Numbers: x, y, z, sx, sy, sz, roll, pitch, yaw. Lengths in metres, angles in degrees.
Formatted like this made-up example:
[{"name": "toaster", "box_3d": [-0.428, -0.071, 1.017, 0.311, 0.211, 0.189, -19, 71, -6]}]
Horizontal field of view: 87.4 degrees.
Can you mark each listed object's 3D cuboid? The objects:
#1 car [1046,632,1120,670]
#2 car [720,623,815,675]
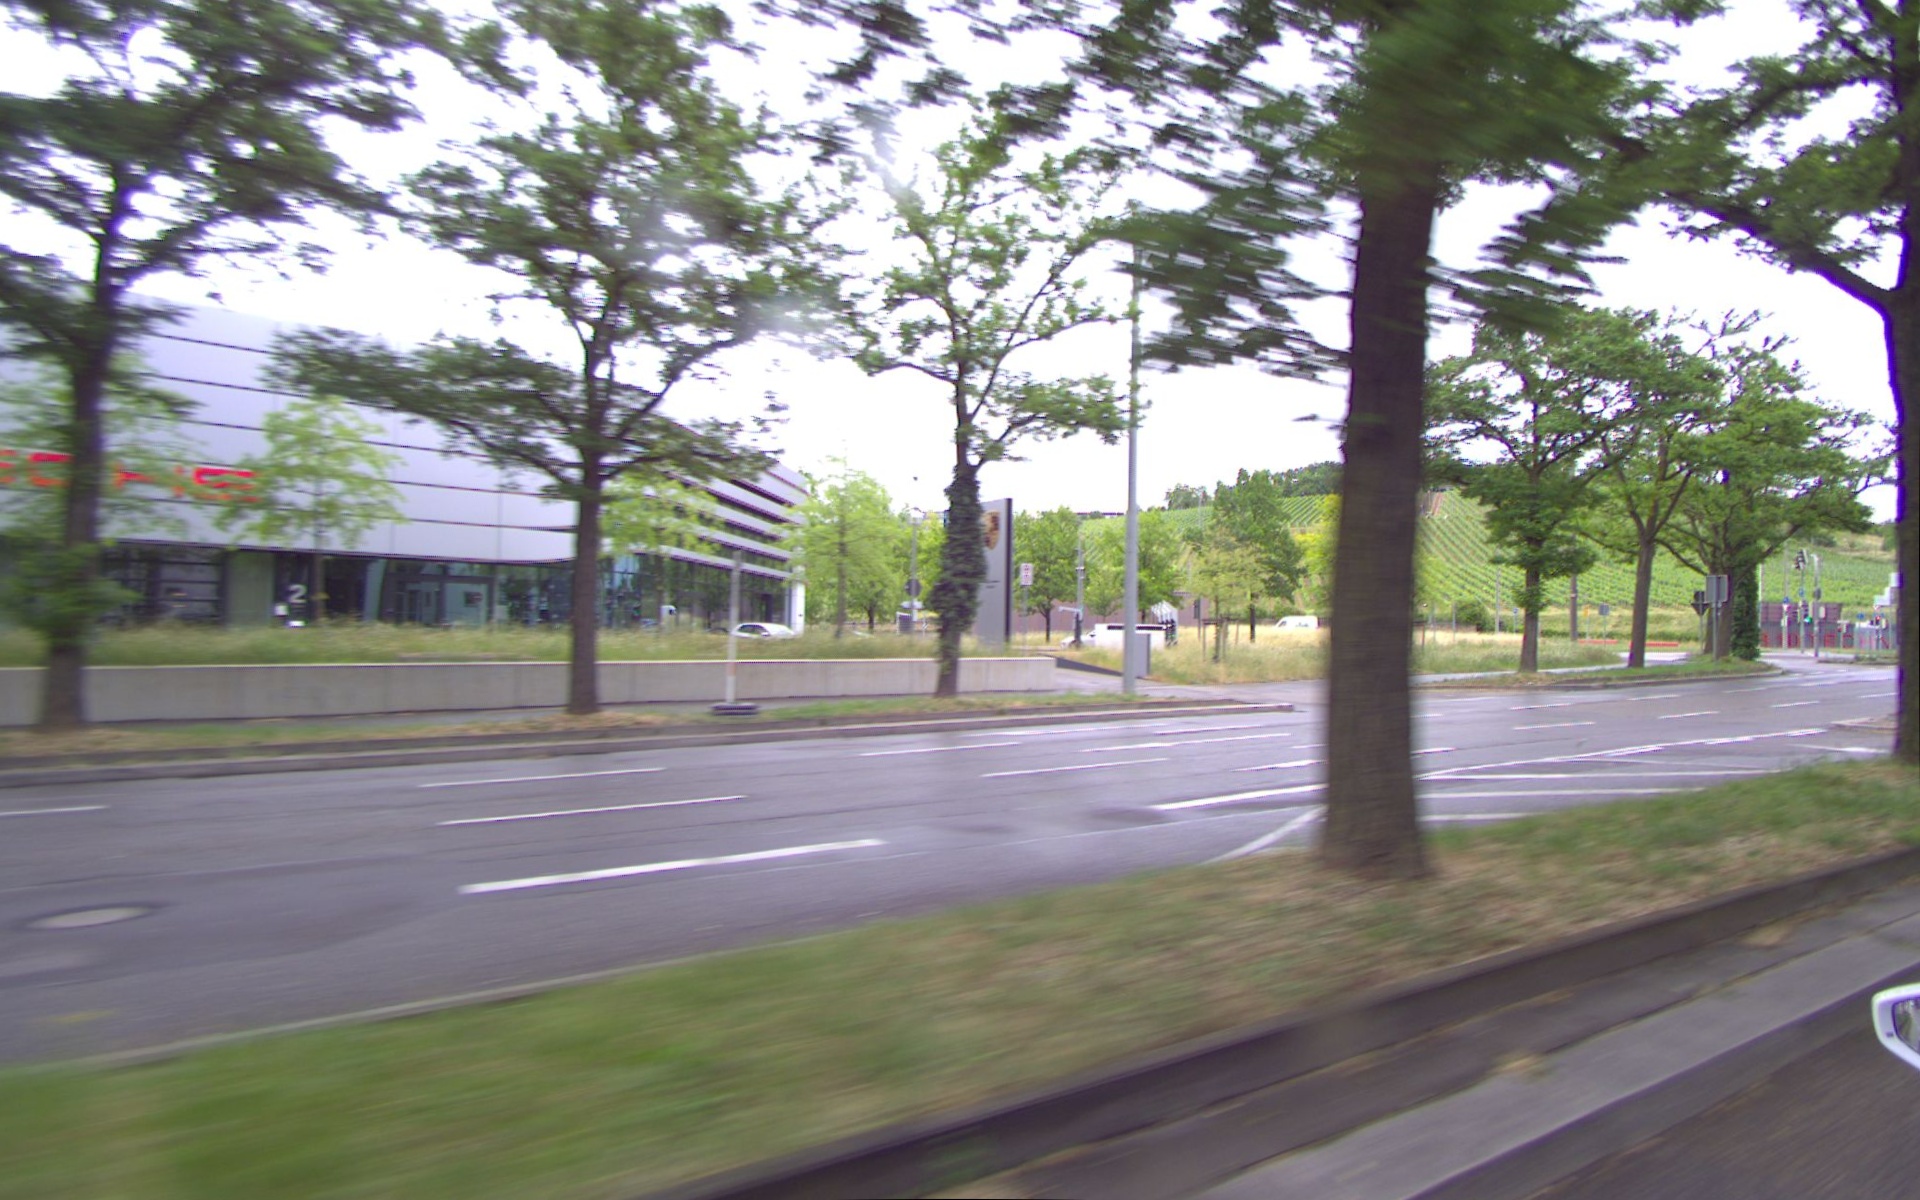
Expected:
[{"name": "car", "box_3d": [6.893, 2.848, 56.278, 3.919, 2.040, 2.001, -1, -2, 14]}, {"name": "car", "box_3d": [-7.977, 2.005, 41.426, 3.946, 2.040, 1.988, -2, -3, 44]}]
